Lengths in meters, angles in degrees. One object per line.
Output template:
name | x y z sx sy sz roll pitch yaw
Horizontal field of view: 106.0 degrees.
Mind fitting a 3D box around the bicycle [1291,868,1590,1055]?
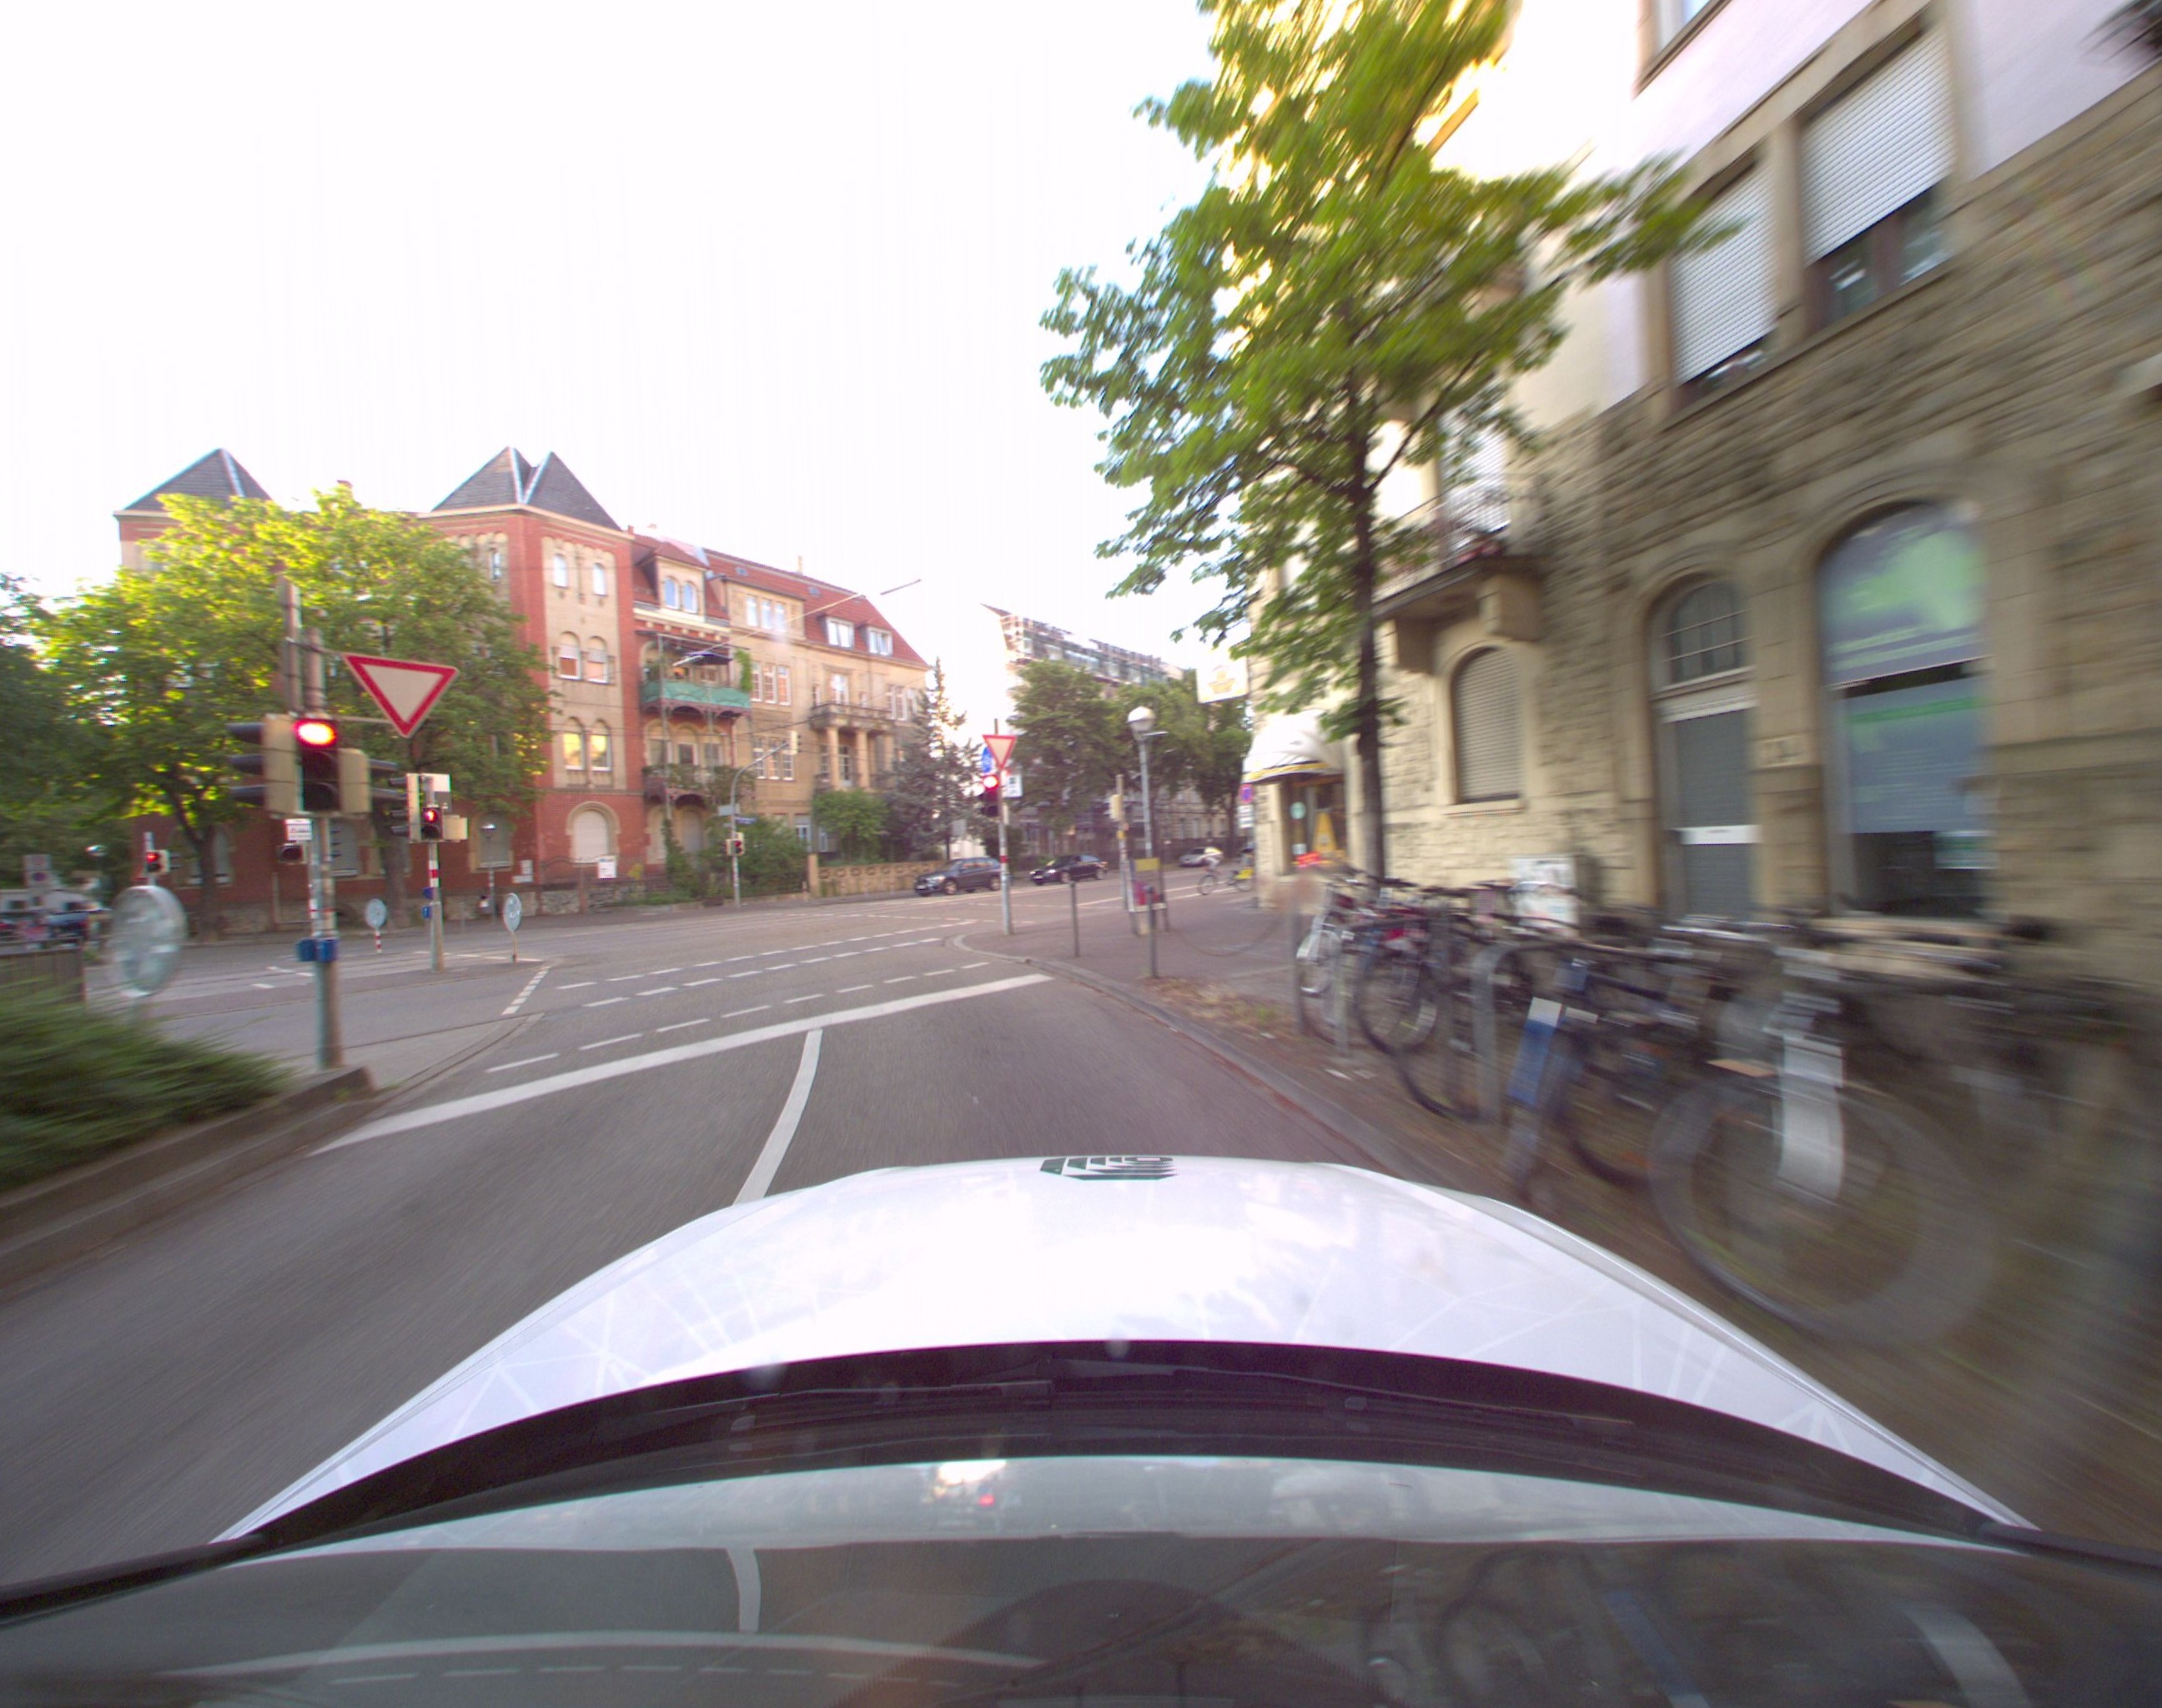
bicycle | 2.456 0.676 5.607 1.804 1.038 0.696 -3 0 -15

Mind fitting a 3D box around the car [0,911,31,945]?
car | -58.841 4.008 42.244 4.990 1.704 1.977 -2 -1 -37

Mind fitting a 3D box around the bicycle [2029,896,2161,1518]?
bicycle | 2.810 0.632 1.408 1.663 1.127 0.487 -3 6 3

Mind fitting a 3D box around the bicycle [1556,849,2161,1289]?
bicycle | 2.772 0.619 2.779 1.882 1.162 0.703 -3 0 -5

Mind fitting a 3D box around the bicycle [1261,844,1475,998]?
bicycle | 2.665 0.577 7.594 1.791 1.236 0.647 -3 0 -17

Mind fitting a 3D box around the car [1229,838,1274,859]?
car | 14.487 -0.482 69.155 1.925 1.482 4.195 -3 0 39

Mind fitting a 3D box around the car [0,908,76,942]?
car | -61.497 4.124 46.368 4.990 1.704 1.977 -2 -1 -37

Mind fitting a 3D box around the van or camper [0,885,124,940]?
van or camper | -65.097 3.657 50.222 7.424 3.083 2.643 -2 -1 -37

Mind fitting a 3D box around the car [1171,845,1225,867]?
car | 8.741 0.132 60.528 1.984 1.426 4.662 -3 0 35

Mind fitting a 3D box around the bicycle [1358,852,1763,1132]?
bicycle | 2.492 0.632 4.256 1.889 1.162 0.637 -3 0 -15

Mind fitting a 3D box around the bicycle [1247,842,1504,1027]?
bicycle | 2.321 0.584 6.461 1.790 1.236 0.696 -3 0 -15

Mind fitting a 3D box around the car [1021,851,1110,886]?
car | -0.737 0.720 41.624 1.925 1.510 4.662 -3 0 39

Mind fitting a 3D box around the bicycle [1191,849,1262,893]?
bicycle | 4.184 0.489 23.465 1.866 1.130 0.731 -3 0 0

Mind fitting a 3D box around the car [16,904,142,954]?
car | -41.651 3.055 33.995 2.008 1.704 4.669 -2 -1 -34

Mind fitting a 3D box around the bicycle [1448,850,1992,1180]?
bicycle | 2.694 0.620 3.536 1.882 1.162 0.639 -3 0 -5

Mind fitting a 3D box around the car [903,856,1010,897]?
car | -5.403 0.975 35.923 1.925 1.510 4.448 -3 0 39
